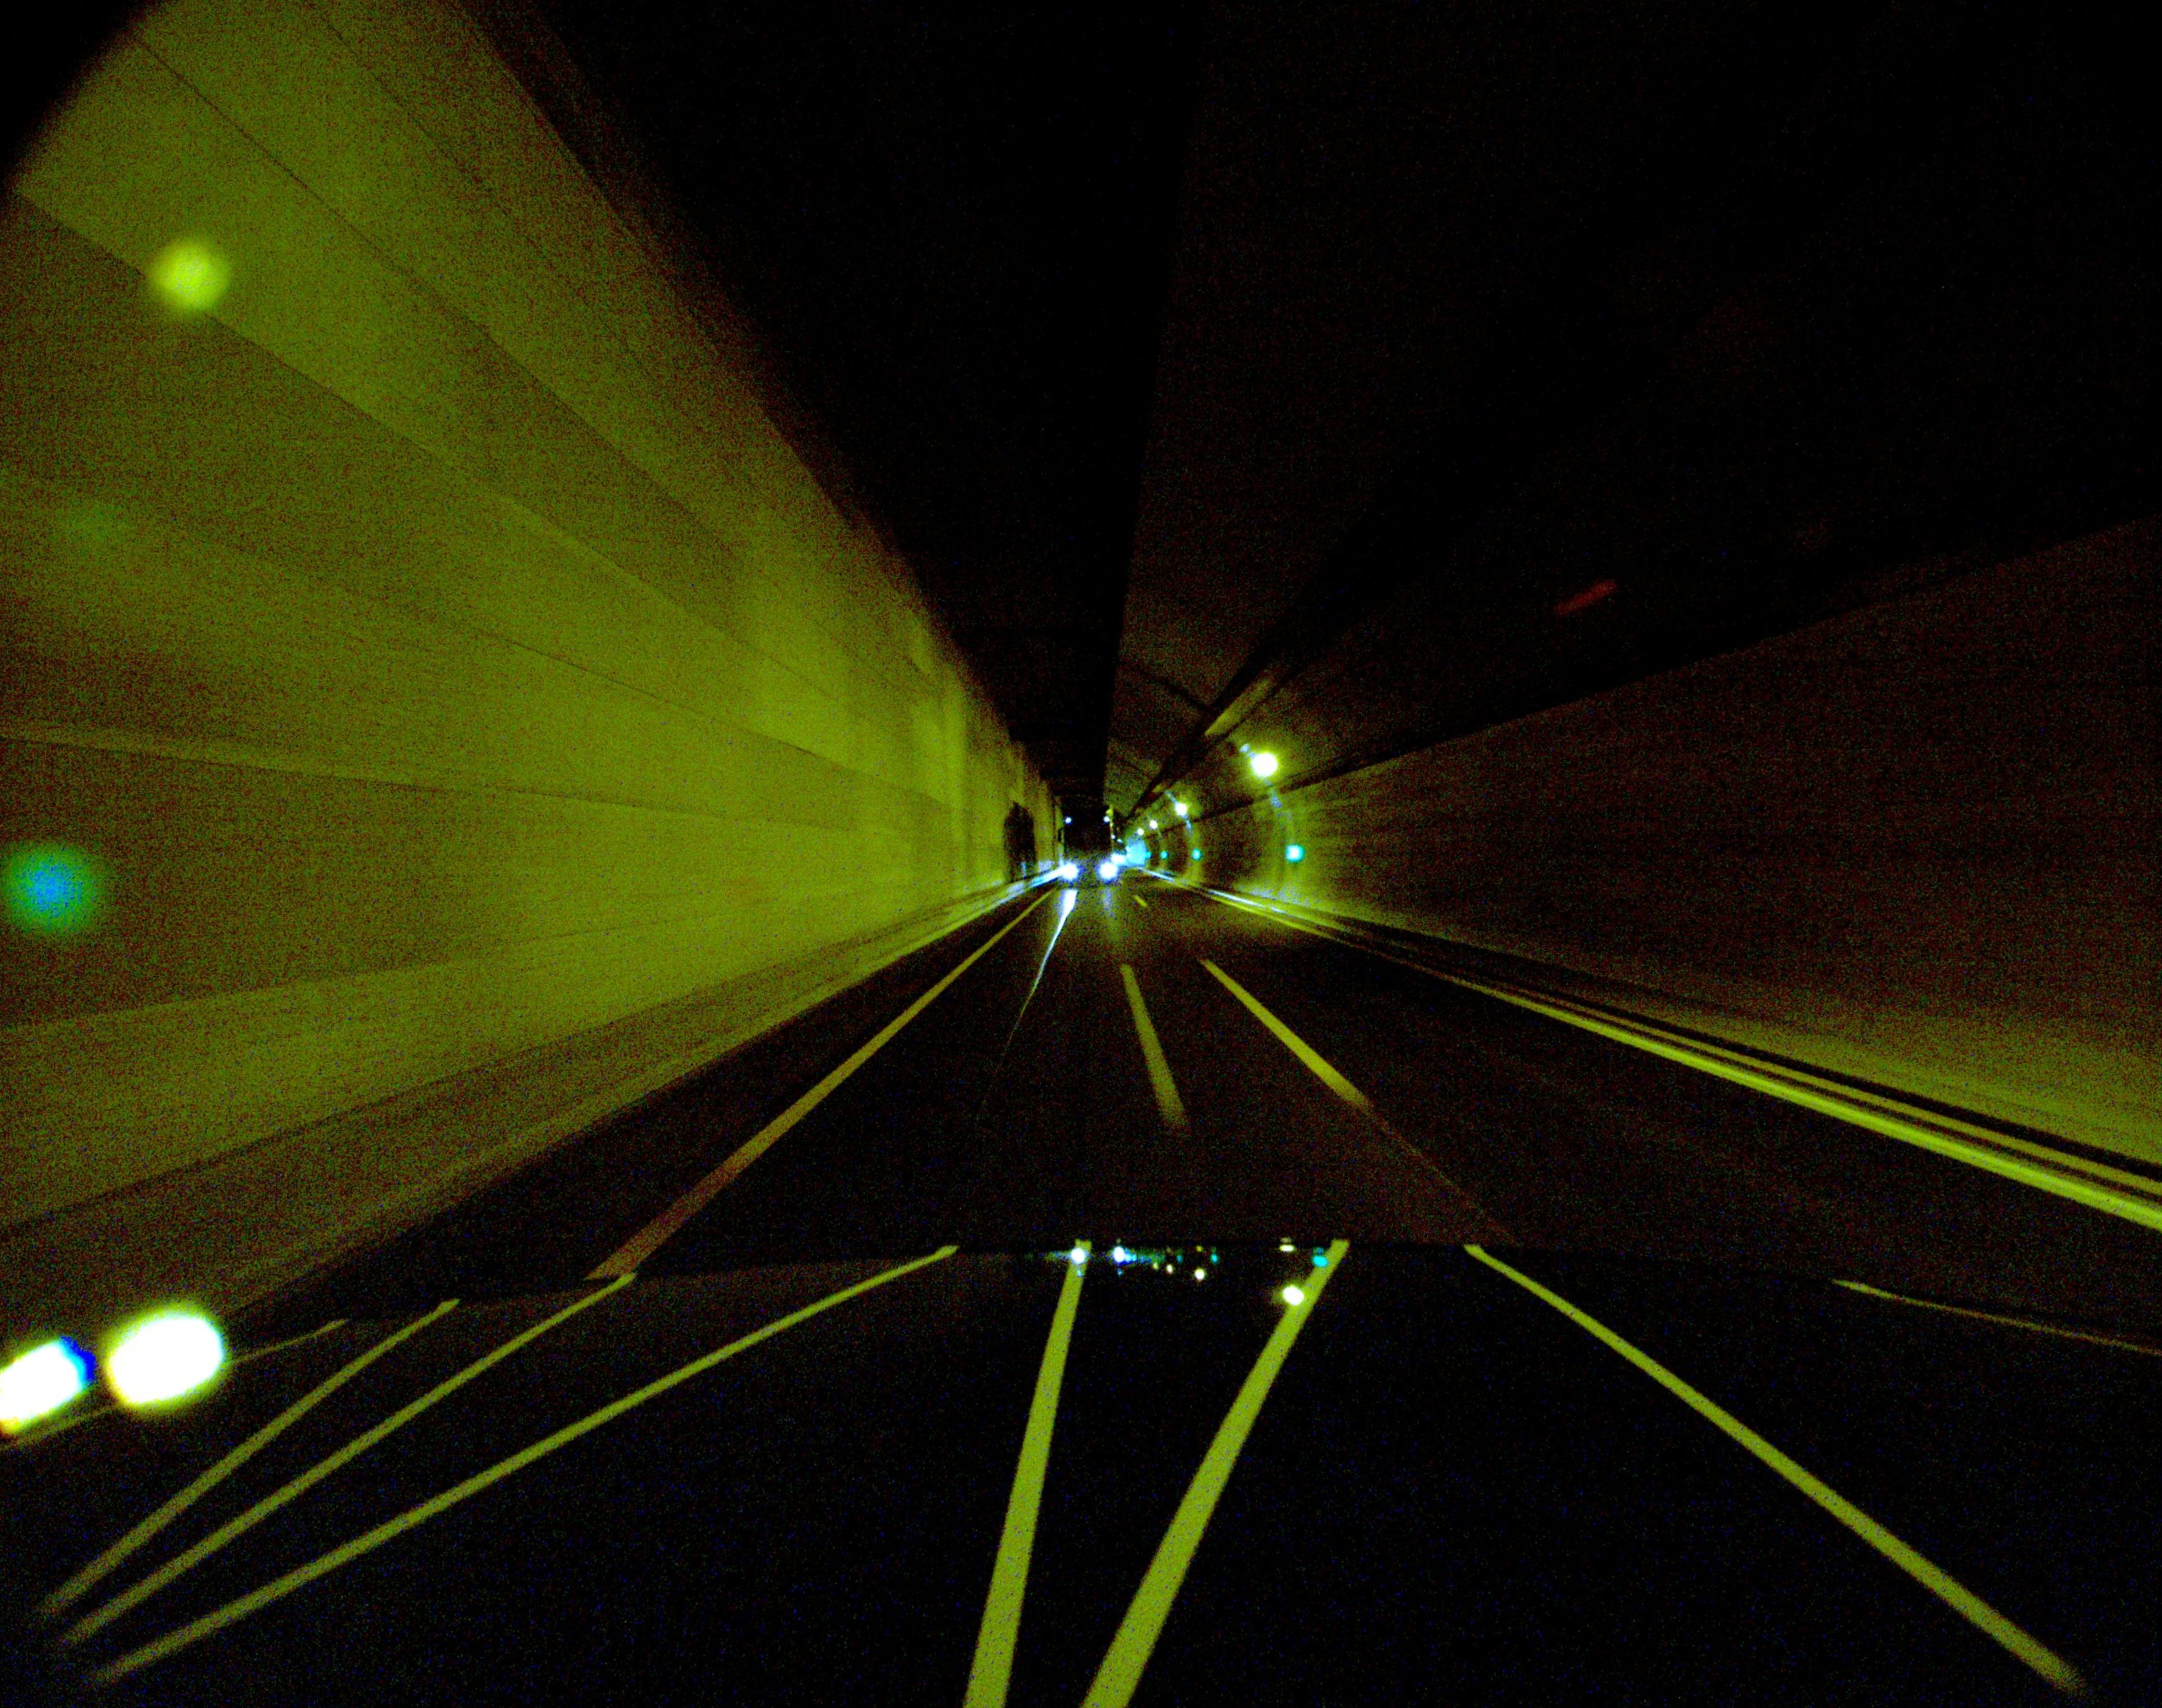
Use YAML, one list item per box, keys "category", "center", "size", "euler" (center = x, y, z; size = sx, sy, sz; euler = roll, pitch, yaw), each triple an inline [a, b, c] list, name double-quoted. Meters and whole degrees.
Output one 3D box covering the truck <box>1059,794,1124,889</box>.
- category: "truck"
  center: [0.504, -0.615, 38.561]
  size: [2.769, 4.198, 7.976]
  euler: [-3, 1, 0]
